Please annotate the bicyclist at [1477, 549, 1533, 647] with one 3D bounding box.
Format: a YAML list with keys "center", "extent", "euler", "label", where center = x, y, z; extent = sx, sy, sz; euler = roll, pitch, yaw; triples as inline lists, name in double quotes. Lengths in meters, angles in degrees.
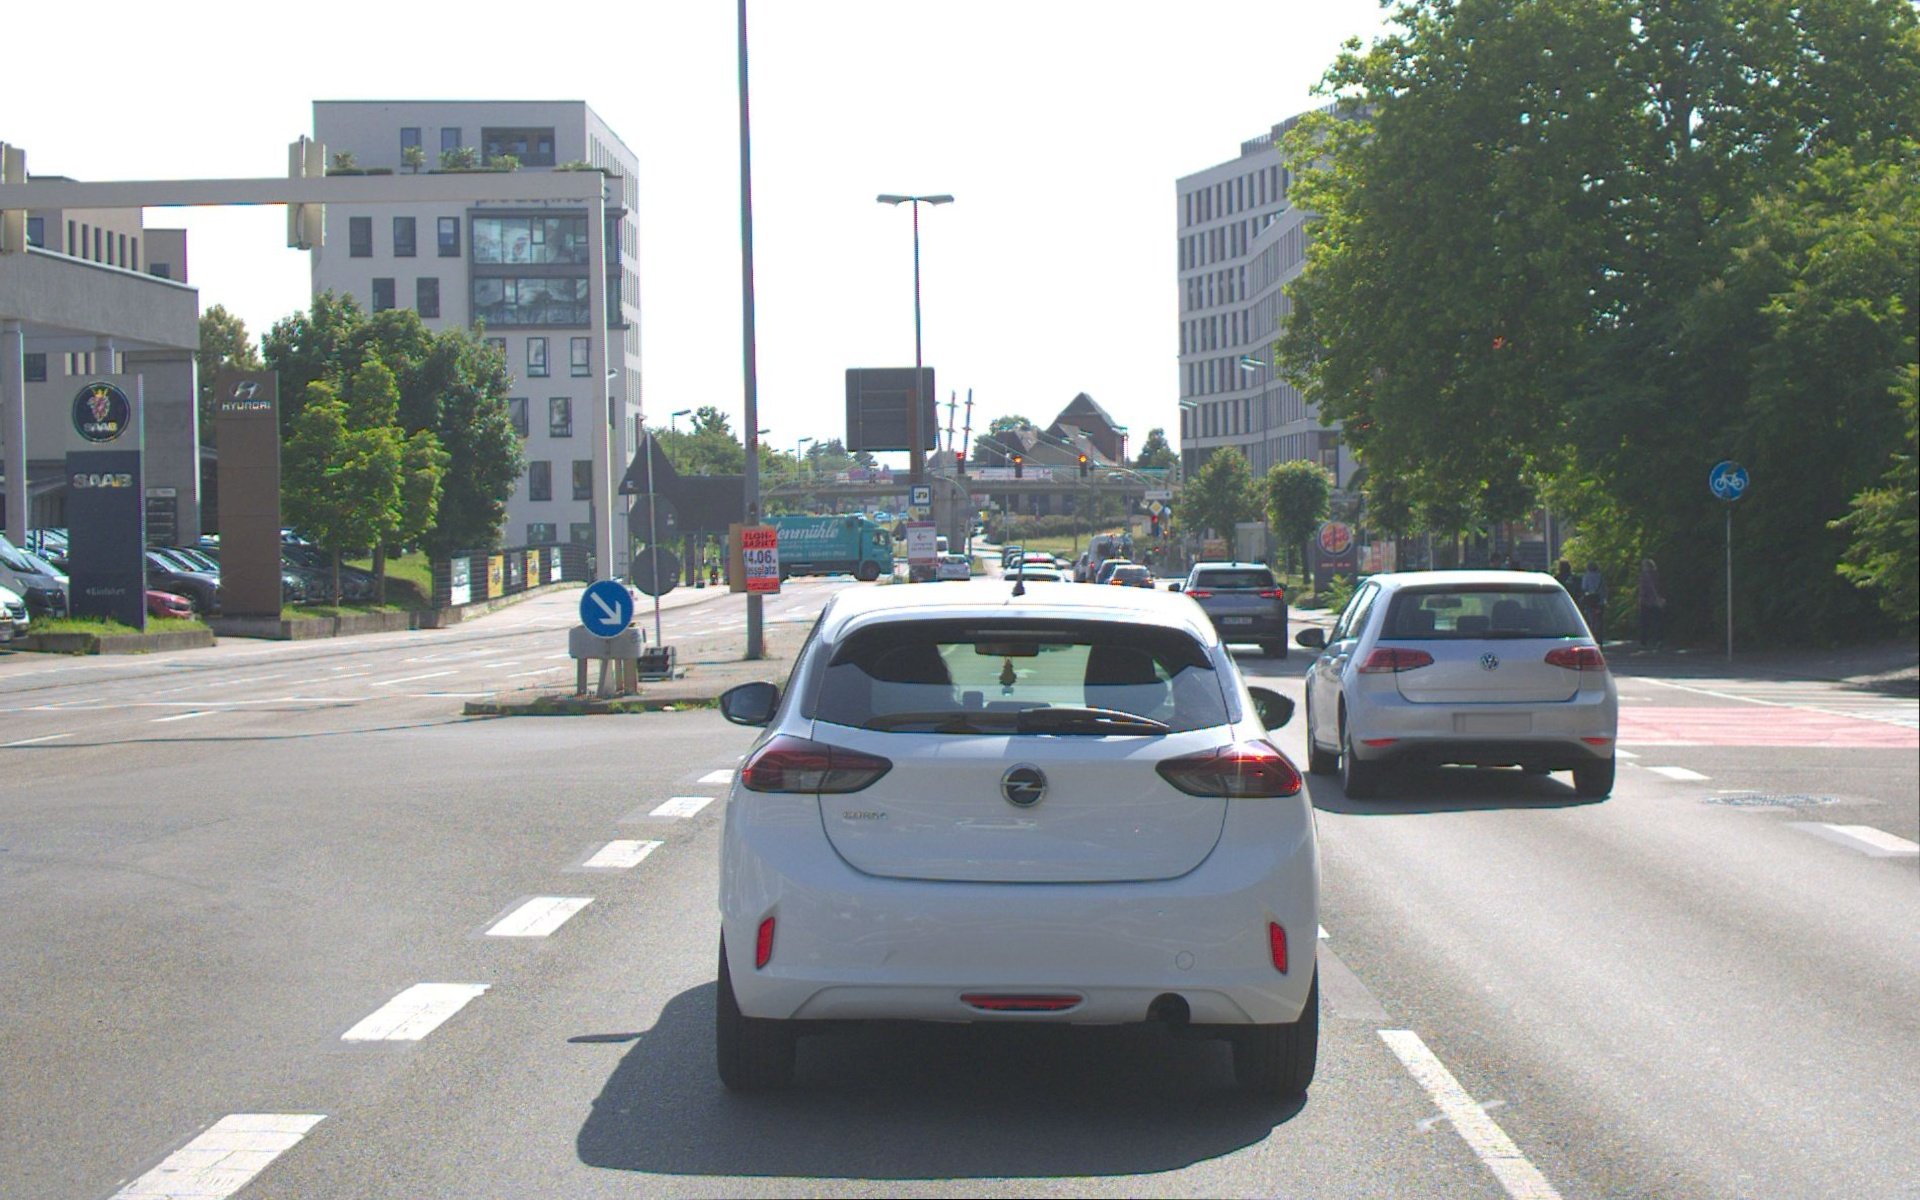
- center: [9.886, -0.043, 62.382]
  extent: [0.879, 1.766, 0.864]
  euler: [-1, 1, 1]
  label: "bicyclist"

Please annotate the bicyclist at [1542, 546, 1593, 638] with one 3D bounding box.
- center: [10.920, -0.151, 61.785]
  extent: [0.688, 1.637, 0.777]
  euler: [-1, 1, -7]
  label: "bicyclist"

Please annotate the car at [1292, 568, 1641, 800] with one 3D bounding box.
- center: [3.344, 0.518, 23.386]
  extent: [1.807, 1.424, 4.000]
  euler: [-1, 0, 1]
  label: "car"

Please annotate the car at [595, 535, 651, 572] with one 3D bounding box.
- center: [-13.596, -1.869, 139.054]
  extent: [1.806, 1.381, 4.000]
  euler: [1, 0, 1]
  label: "car"

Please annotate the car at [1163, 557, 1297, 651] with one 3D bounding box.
- center: [4.642, 0.046, 59.670]
  extent: [1.993, 1.546, 4.433]
  euler: [-1, 1, 1]
  label: "car"

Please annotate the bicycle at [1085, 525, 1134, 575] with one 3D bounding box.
- center: [6.570, -2.189, 151.613]
  extent: [1.993, 2.150, 4.000]
  euler: [-1, 1, 1]
  label: "bicycle"

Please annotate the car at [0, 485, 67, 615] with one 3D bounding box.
- center: [-20.644, -1.001, 69.895]
  extent: [4.357, 2.592, 2.000]
  euler: [-1, 1, 6]
  label: "car"

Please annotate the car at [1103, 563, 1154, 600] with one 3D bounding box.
- center: [6.421, -0.690, 131.360]
  extent: [1.806, 1.381, 4.000]
  euler: [1, 0, 1]
  label: "car"

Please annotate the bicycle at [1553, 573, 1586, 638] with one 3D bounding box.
- center: [10.948, 0.101, 61.785]
  extent: [0.373, 1.143, 1.034]
  euler: [1, 0, -1]
  label: "bicycle"

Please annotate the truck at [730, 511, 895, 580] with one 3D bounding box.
- center: [-8.504, -3.130, 197.513]
  extent: [9.058, 3.821, 3.082]
  euler: [-1, 1, -12]
  label: "truck"

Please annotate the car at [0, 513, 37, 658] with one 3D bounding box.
- center: [-19.931, -0.254, 64.569]
  extent: [4.499, 2.675, 2.127]
  euler: [-1, 1, 10]
  label: "car"

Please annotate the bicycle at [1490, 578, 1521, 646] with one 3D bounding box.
- center: [9.891, 0.211, 62.368]
  extent: [0.372, 1.212, 1.154]
  euler: [1, 0, 1]
  label: "bicycle"

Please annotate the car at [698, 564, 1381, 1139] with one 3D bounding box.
- center: [0.230, 0.641, 11.039]
  extent: [1.779, 1.489, 4.000]
  euler: [-1, 1, 1]
  label: "car"

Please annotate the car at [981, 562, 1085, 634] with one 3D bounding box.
- center: [1.484, -0.057, 71.448]
  extent: [1.993, 1.442, 4.371]
  euler: [0, 0, -1]
  label: "car"
